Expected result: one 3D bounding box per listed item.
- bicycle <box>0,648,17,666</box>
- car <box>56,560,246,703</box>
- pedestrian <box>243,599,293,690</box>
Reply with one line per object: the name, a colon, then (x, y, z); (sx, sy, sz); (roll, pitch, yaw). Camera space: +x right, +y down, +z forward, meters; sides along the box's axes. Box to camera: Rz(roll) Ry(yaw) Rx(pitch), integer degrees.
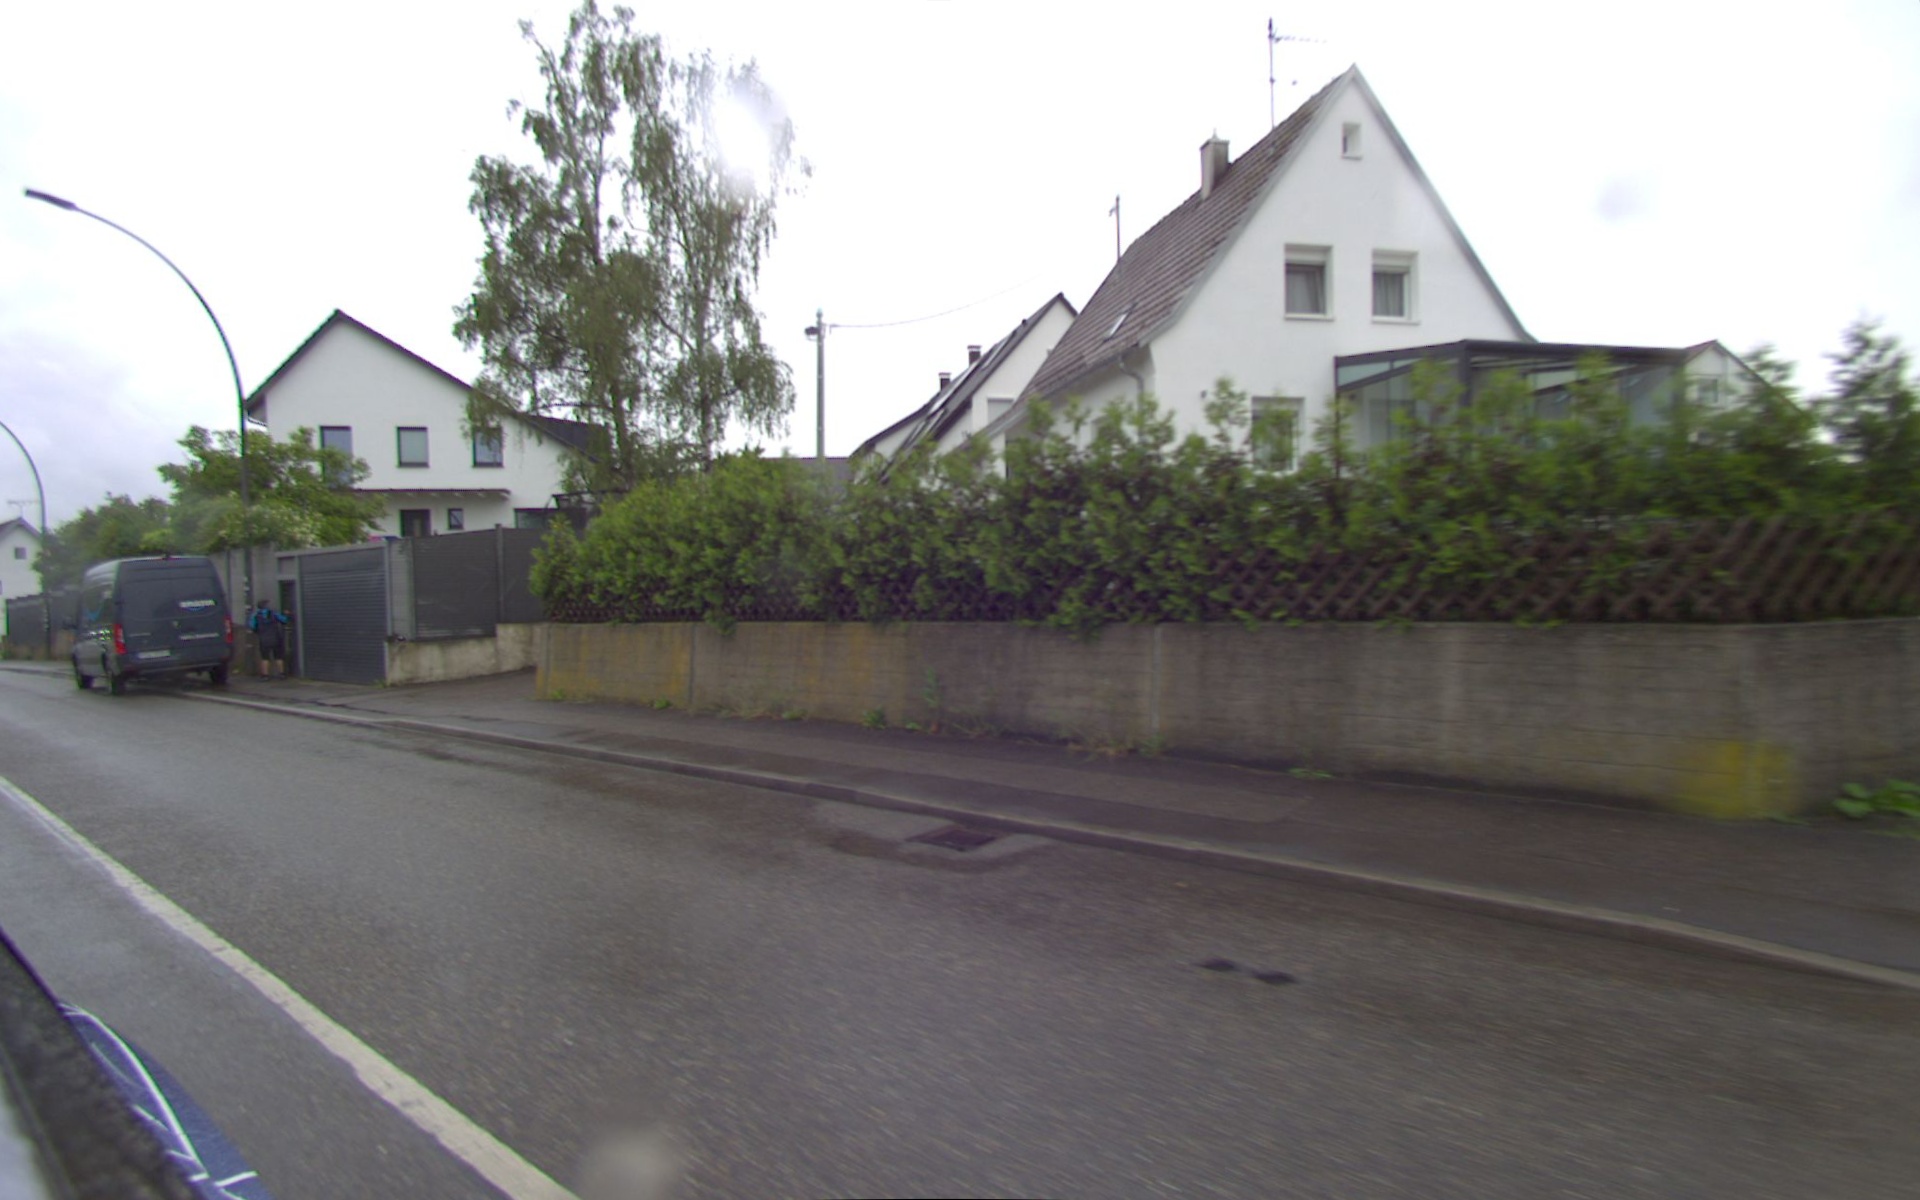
bicycle: (-66.471, 4.006, 69.708); (2.070, 1.122, 0.739); (-6, 3, -36)
car: (-17.563, 0.651, 21.825); (5.915, 2.668, 2.073); (-2, 1, 41)
pedestrian: (-14.884, 0.930, 21.777); (0.669, 1.900, 0.812); (-1, 0, -19)
